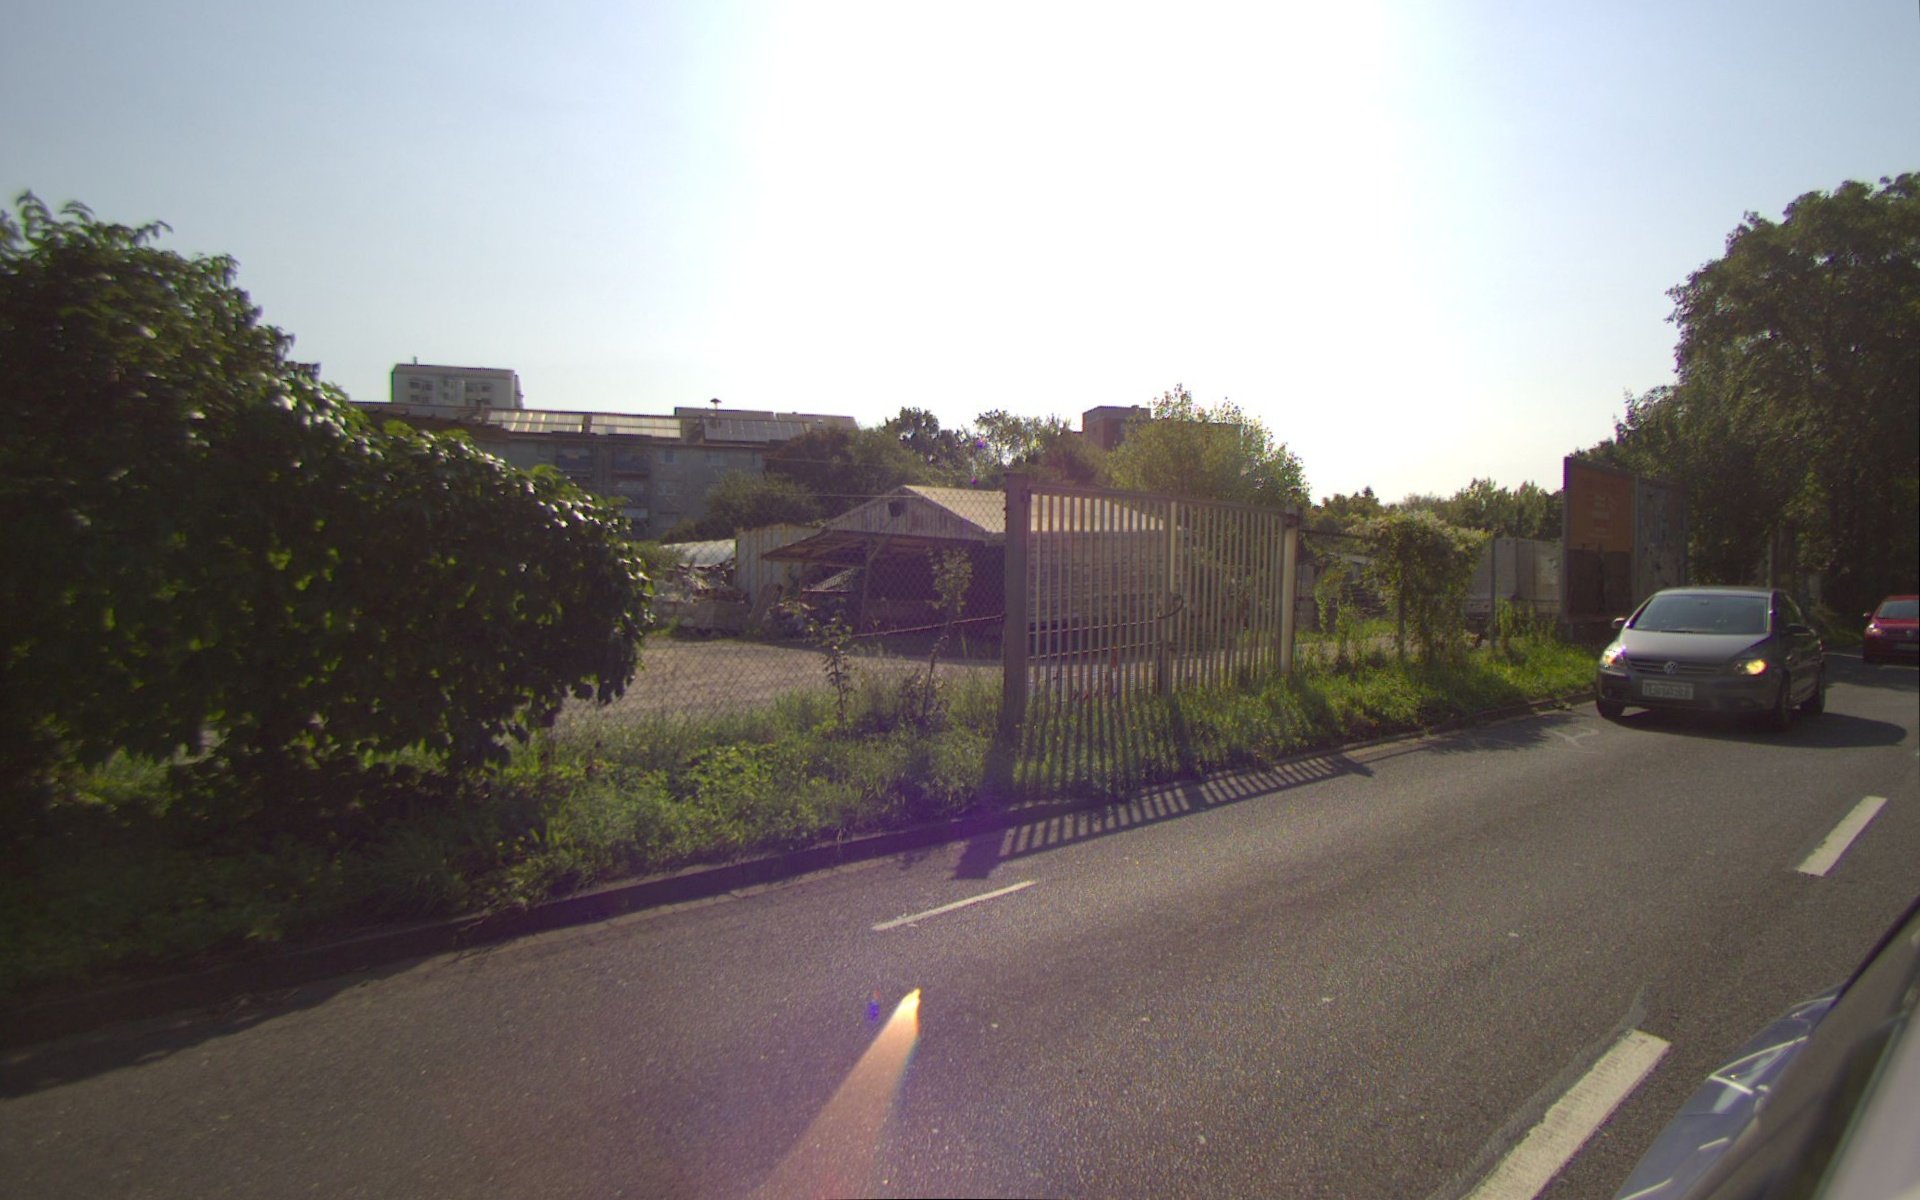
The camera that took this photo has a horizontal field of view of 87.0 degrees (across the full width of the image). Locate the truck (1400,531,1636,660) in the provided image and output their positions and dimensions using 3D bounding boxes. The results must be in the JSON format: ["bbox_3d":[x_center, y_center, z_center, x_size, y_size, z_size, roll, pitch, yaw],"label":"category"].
[{"bbox_3d":[11.554,-0.095,20.647,6.791,2.261,1.918,0,0,-40],"label":"truck"}]

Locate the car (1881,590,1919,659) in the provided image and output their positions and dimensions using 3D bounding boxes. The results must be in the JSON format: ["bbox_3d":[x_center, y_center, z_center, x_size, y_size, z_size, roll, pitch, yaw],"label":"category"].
[{"bbox_3d":[21.276,0.503,22.061,3.415,1.416,1.576,-1,2,-45],"label":"car"}]

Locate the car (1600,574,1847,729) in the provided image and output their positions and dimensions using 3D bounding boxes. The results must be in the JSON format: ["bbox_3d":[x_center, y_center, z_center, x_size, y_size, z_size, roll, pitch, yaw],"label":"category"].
[{"bbox_3d":[9.245,0.500,12.151,3.831,1.576,1.648,0,1,-42],"label":"car"}]
